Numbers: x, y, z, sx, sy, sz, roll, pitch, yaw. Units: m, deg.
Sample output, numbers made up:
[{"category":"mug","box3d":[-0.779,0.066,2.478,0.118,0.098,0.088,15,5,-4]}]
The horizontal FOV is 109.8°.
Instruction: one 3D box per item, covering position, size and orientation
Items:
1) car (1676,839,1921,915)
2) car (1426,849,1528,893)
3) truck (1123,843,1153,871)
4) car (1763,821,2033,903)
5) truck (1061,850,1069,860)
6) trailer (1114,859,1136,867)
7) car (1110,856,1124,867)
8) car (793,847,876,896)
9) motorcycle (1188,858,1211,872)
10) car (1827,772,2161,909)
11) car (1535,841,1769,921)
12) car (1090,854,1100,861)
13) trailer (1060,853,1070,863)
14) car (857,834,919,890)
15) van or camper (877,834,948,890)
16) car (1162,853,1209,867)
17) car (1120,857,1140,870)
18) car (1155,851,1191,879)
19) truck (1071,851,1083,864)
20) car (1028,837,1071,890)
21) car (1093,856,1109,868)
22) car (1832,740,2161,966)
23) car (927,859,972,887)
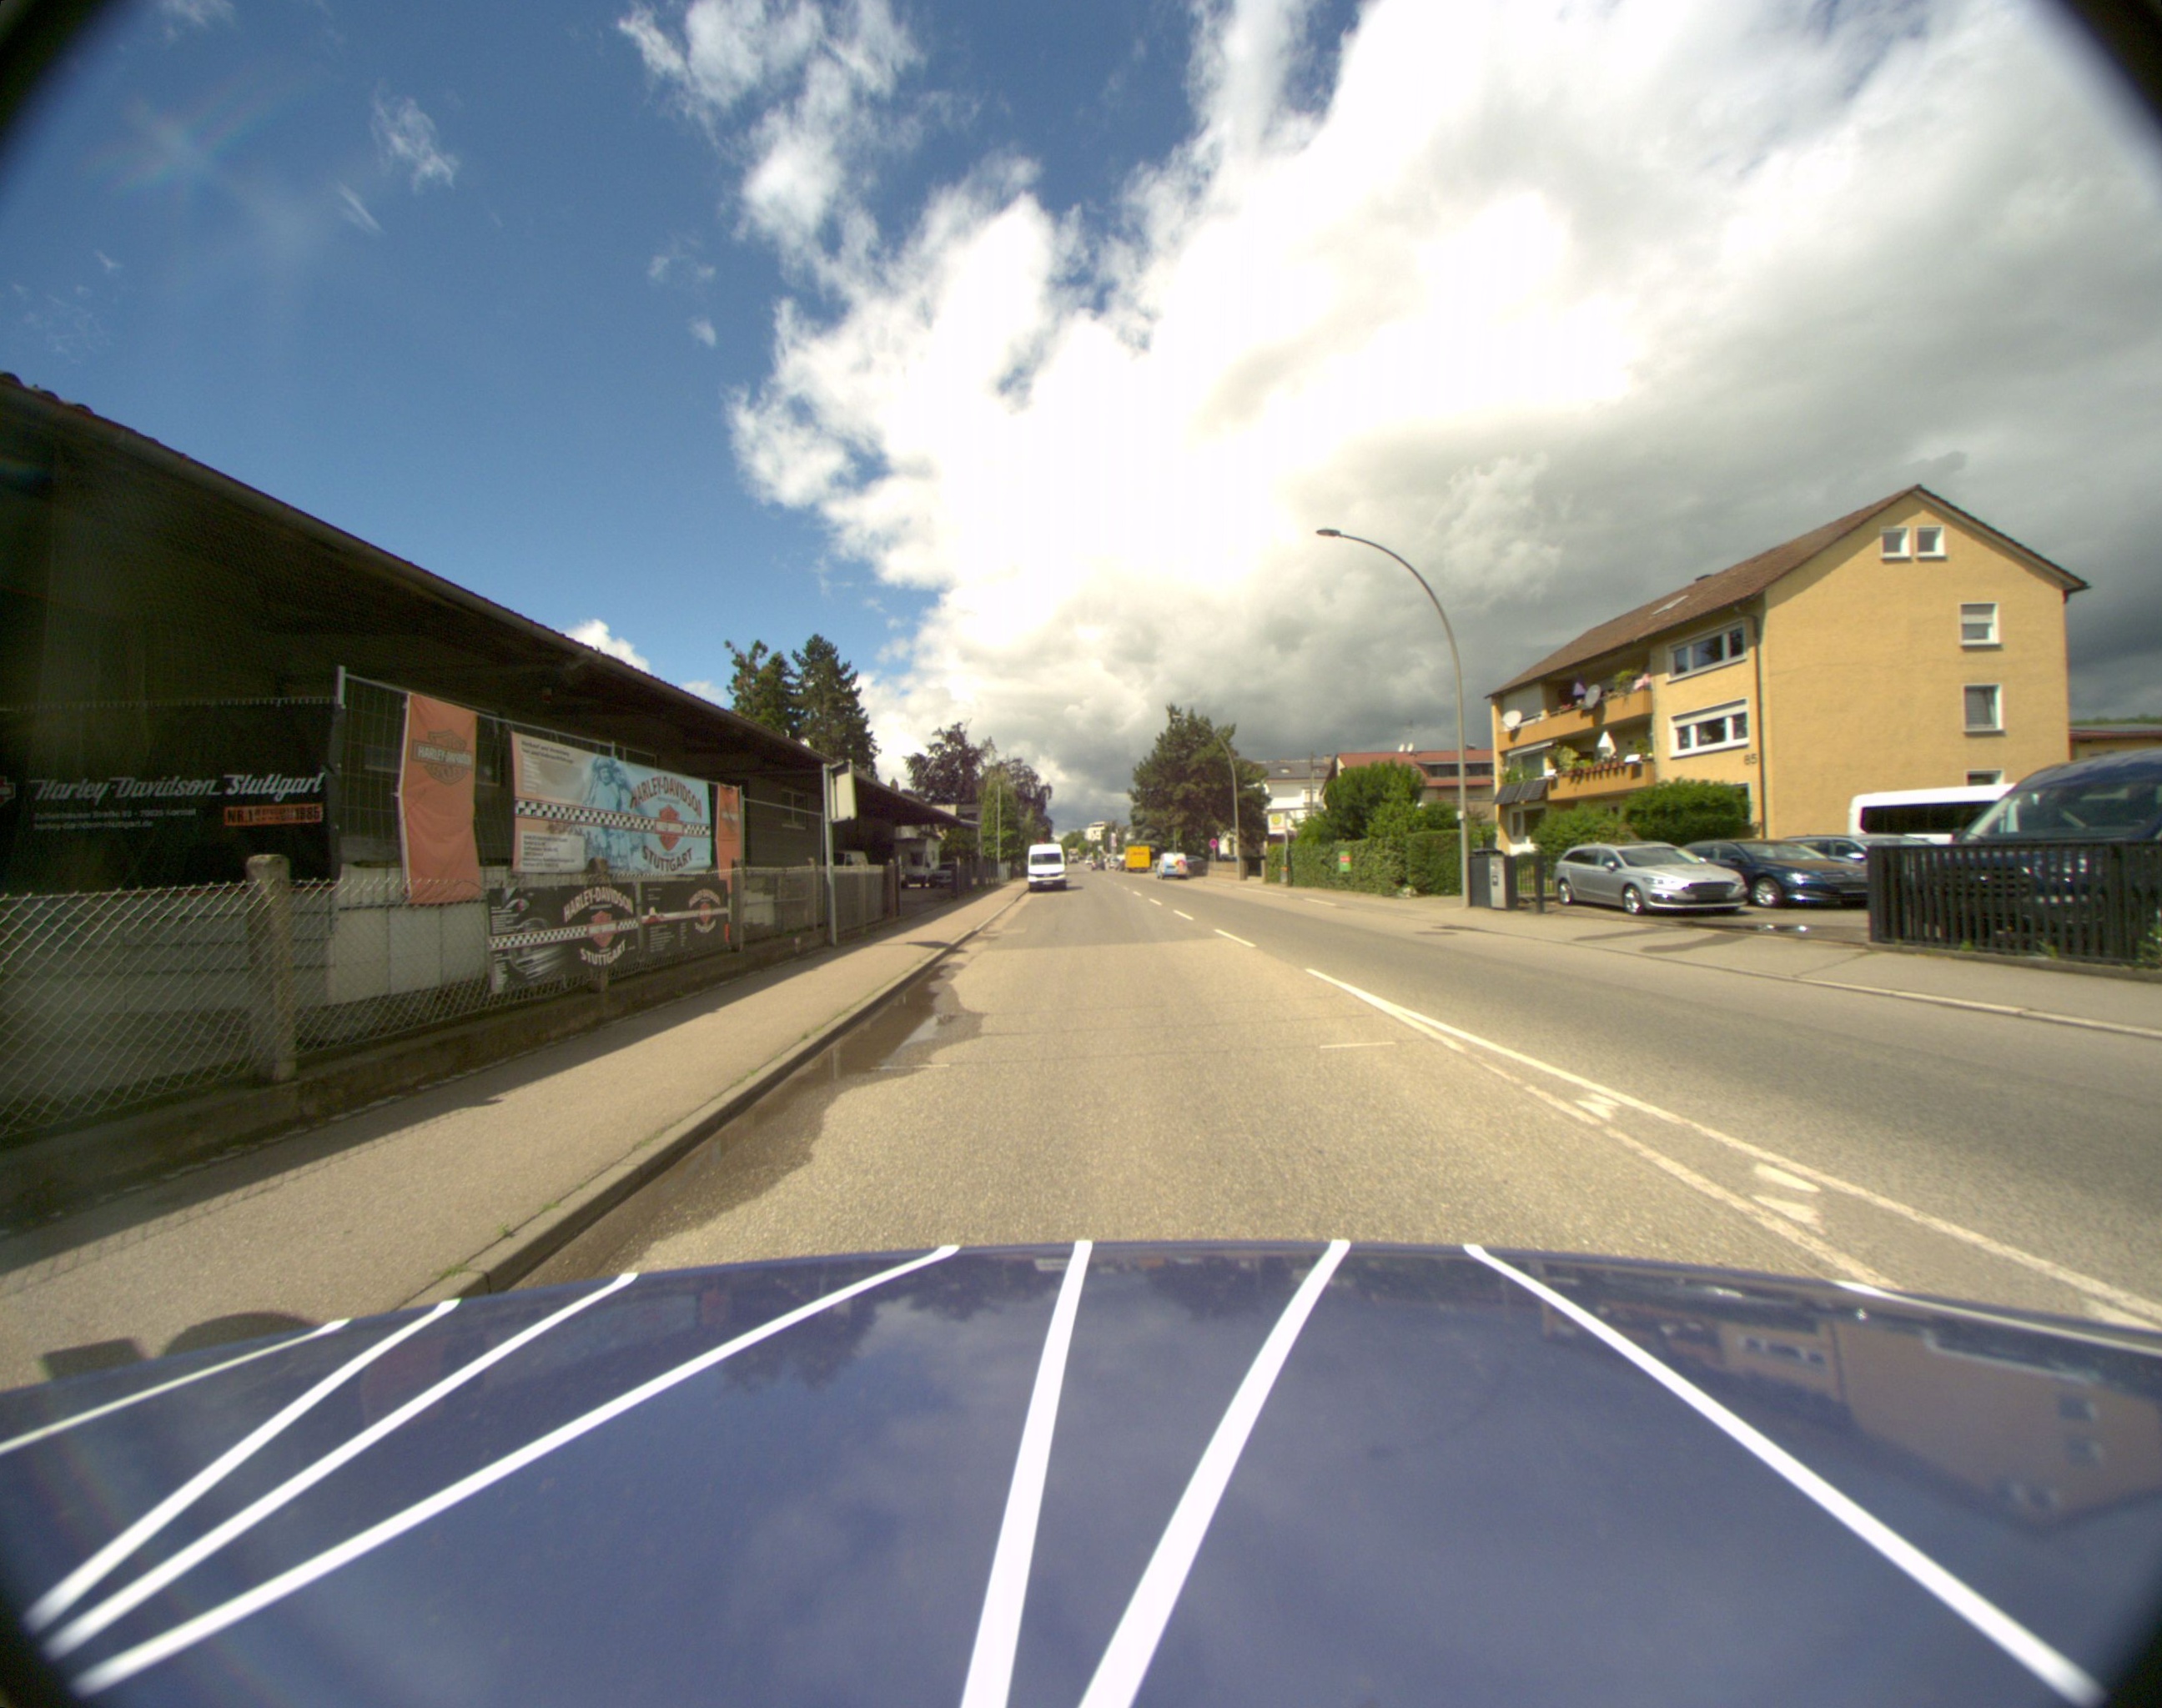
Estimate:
[{"category":"car","box3d":[15.376,0.436,16.668,1.848,1.418,4.334,-1,0,11]},{"category":"car","box3d":[14.241,0.565,27.611,1.848,1.418,4.333,-1,0,7]},{"category":"truck","box3d":[6.247,0.334,84.336,2.330,2.985,7.817,1,0,-2]},{"category":"car","box3d":[17.730,0.157,16.864,1.848,1.568,4.334,-1,0,11]},{"category":"truck","box3d":[-4.769,0.354,227.663,2.411,2.722,6.640,-4,1,-1]},{"category":"trailer","box3d":[5.660,1.154,98.349,2.324,0.985,7.458,0,0,-1]},{"category":"car","box3d":[5.510,1.171,115.961,1.809,1.666,4.127,0,0,-1]},{"category":"car","box3d":[-10.509,0.724,32.799,1.999,1.898,4.853,-2,-1,-1]},{"category":"motorcycle","box3d":[10.516,0.973,67.242,1.872,1.158,0.825,-2,0,15]},{"category":"car","box3d":[20.558,-0.238,16.712,2.418,2.481,6.136,0,0,2]},{"category":"car","box3d":[12.437,0.519,17.114,1.997,1.477,5.344,-2,0,10]},{"category":"car","box3d":[3.223,0.793,175.596,1.987,1.412,3.999,-1,0,-3]},{"category":"trailer","box3d":[-3.708,0.958,176.054,2.045,2.214,5.078,-1,0,0]},{"category":"car","box3d":[-9.957,0.475,39.664,2.023,2.665,5.497,-2,-1,-2]},{"category":"van or camper","box3d":[-9.958,0.444,45.687,2.889,3.043,6.912,-2,0,-2]},{"category":"car","box3d":[11.862,0.678,86.766,5.021,1.543,1.972,-2,0,-2]},{"category":"car","box3d":[5.884,1.146,92.038,1.999,1.445,4.811,2,0,-1]},{"category":"car","box3d":[6.526,0.813,54.394,1.838,1.842,4.896,2,-1,-1]},{"category":"truck","box3d":[-1.027,0.906,204.476,2.880,3.290,8.606,-4,1,-1]},{"category":"car","box3d":[-1.744,0.489,42.531,2.221,2.673,6.656,-1,0,-2]},{"category":"car","box3d":[2.615,1.084,99.761,1.906,1.509,4.318,-1,0,-2]},{"category":"car","box3d":[13.823,-0.063,9.696,6.053,2.482,2.477,-1,0,-1]},{"category":"car","box3d":[-7.446,1.071,43.516,1.769,1.480,4.926,-2,-1,-1]}]
